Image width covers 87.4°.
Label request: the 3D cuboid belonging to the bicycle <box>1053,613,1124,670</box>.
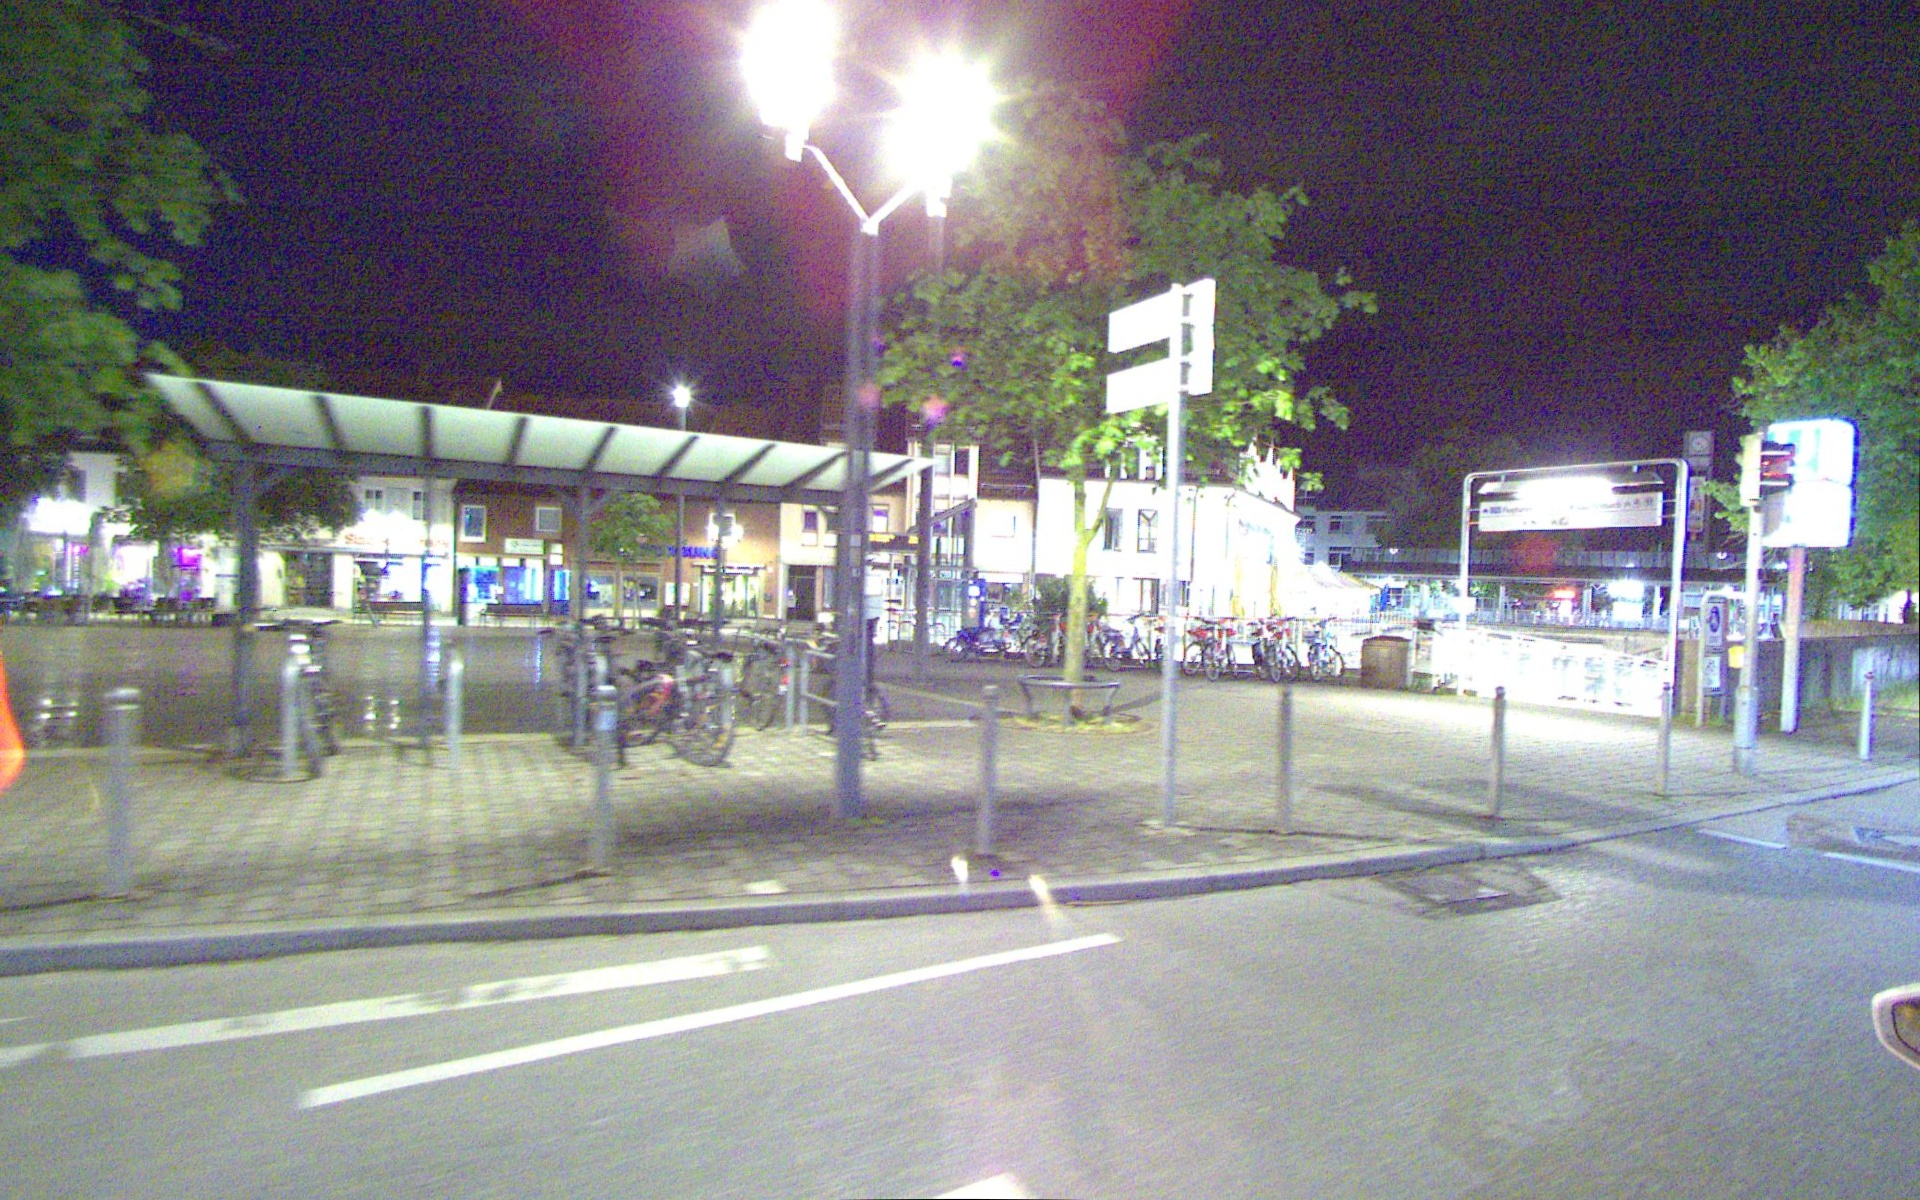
[{"bbox_3d":[2.702,0.839,20.985,0.600,1.115,1.738,1,1,41],"label":"bicycle"}]

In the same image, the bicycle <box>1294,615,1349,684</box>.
[{"bbox_3d":[6.728,0.885,18.659,0.747,1.177,1.745,0,0,27],"label":"bicycle"}]

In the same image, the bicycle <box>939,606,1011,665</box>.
[{"bbox_3d":[0.352,0.756,22.145,0.600,1.235,1.738,1,1,41],"label":"bicycle"}]

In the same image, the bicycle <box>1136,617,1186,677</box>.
[{"bbox_3d":[3.994,0.900,19.882,0.597,1.084,1.746,0,0,24],"label":"bicycle"}]

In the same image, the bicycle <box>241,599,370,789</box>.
[{"bbox_3d":[-4.668,0.597,7.255,0.662,1.179,1.760,1,0,-30],"label":"bicycle"}]

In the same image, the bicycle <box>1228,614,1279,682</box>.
[{"bbox_3d":[5.550,0.877,18.931,0.598,1.181,1.745,0,0,27],"label":"bicycle"}]

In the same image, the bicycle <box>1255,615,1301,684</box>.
[{"bbox_3d":[5.877,0.885,18.516,0.535,1.170,1.745,0,0,27],"label":"bicycle"}]

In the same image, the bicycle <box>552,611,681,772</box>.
[{"bbox_3d":[-2.816,0.681,8.129,0.662,1.120,1.608,2,0,-30],"label":"bicycle"}]

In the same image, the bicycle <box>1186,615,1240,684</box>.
[{"bbox_3d":[4.700,0.880,18.595,0.598,1.181,1.745,0,0,27],"label":"bicycle"}]

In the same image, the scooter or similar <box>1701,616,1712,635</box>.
[{"bbox_3d":[54.077,1.825,72.740,0.423,1.302,1.146,0,1,25],"label":"scooter or similar"}]

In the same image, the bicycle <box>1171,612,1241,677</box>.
[{"bbox_3d":[4.845,0.846,19.717,0.600,1.181,1.737,1,1,42],"label":"bicycle"}]

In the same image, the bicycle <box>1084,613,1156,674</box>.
[{"bbox_3d":[3.238,0.850,20.262,0.600,1.140,1.738,1,1,41],"label":"bicycle"}]

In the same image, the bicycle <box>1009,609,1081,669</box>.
[{"bbox_3d":[1.799,0.798,21.107,0.600,1.181,1.738,1,1,41],"label":"bicycle"}]

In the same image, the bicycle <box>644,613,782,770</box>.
[{"bbox_3d":[-2.094,0.704,8.365,0.662,1.120,1.608,2,1,-30],"label":"bicycle"}]

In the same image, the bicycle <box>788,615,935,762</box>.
[{"bbox_3d":[-0.912,0.734,8.897,0.662,1.120,1.608,2,0,-30],"label":"bicycle"}]
